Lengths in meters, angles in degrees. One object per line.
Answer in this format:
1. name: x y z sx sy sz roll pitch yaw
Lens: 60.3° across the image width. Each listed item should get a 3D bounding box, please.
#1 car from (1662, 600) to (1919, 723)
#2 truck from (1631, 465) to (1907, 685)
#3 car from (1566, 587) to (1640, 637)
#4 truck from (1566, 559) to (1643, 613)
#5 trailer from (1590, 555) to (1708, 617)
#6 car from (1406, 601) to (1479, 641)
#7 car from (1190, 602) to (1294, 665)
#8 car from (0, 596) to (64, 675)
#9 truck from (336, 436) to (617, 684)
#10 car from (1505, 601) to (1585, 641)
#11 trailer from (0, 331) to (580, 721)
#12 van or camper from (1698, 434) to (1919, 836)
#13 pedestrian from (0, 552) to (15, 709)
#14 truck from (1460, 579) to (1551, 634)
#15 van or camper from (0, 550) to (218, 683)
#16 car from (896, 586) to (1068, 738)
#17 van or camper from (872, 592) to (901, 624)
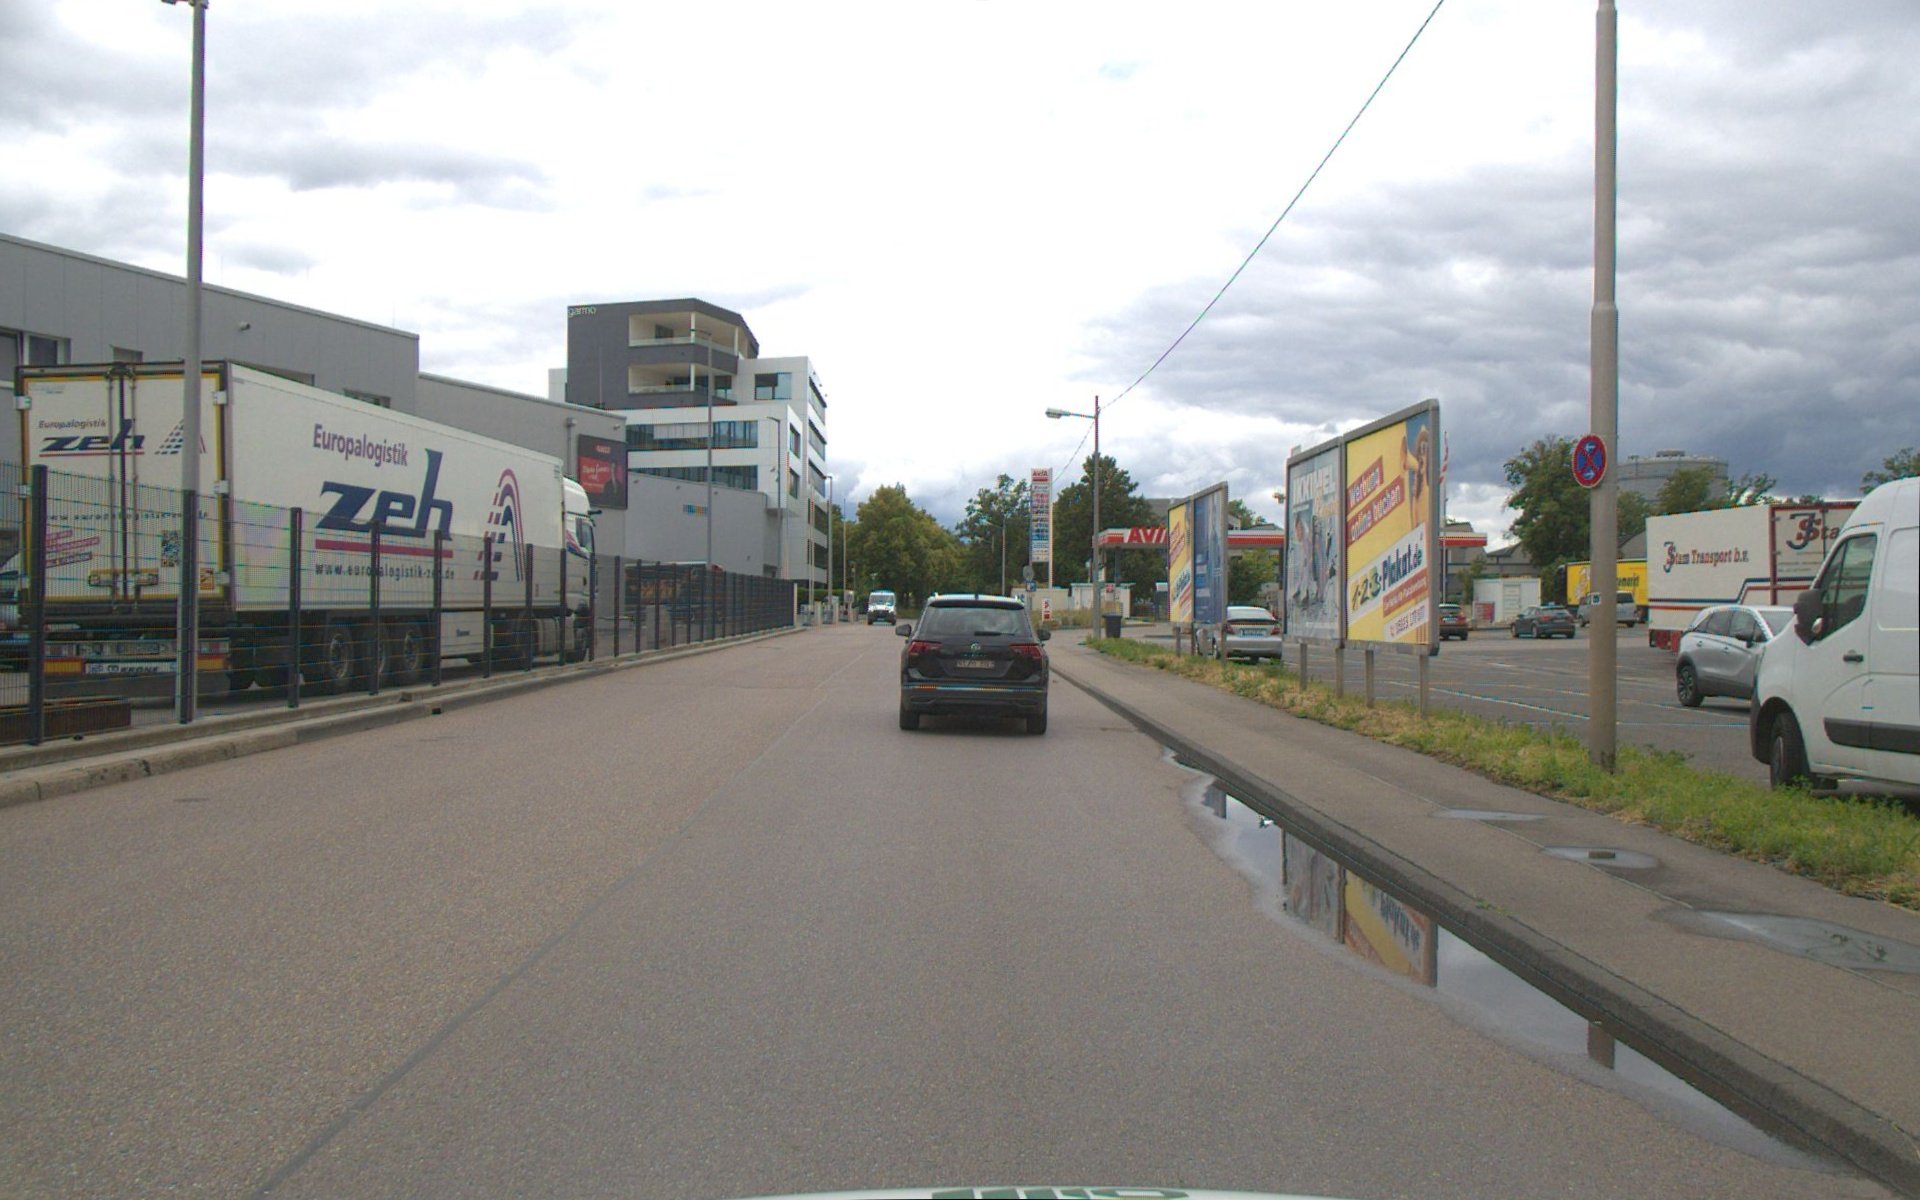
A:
1. car: 12.334 0.857 24.492 1.852 1.640 4.426 1 -1 -3
2. truck: 20.792 -0.568 43.247 3.239 5.183 8.514 0 0 1
3. car: 35.810 0.670 92.251 2.047 2.694 5.370 0 0 0
4. truck: 43.220 -0.951 111.084 2.970 3.523 5.505 0 0 -1
5. trailer: 43.345 -0.881 104.491 2.971 3.691 10.136 0 0 -1
6. car: 21.456 0.928 73.717 1.954 1.736 3.998 0 -1 -3
7. car: 7.171 0.849 42.458 1.851 1.470 4.428 2 -1 0
8. car: -20.983 0.725 34.401 3.903 1.579 2.001 0 -1 19
9. truck: -9.280 -0.663 32.755 3.063 4.188 6.943 -4 -1 2
10. car: 26.037 0.948 73.732 1.954 1.736 4.186 0 -1 -3
11. trailer: -9.527 -0.778 26.214 3.068 4.335 14.022 -4 -1 2
12. van or camper: 7.544 0.241 11.408 2.209 2.694 6.114 0 -1 0
13. pedestrian: -11.747 0.356 19.500 0.683 1.861 0.824 0 -1 4
14. truck: 33.085 0.346 100.681 3.110 3.200 7.509 0 0 0
15. van or camper: -19.254 0.356 36.754 4.867 2.811 2.105 0 -1 18
16. car: 0.228 0.742 21.065 1.953 1.713 4.370 0 -1 -1
17. van or camper: -5.262 0.578 118.913 1.953 2.296 3.999 0 -1 -1
